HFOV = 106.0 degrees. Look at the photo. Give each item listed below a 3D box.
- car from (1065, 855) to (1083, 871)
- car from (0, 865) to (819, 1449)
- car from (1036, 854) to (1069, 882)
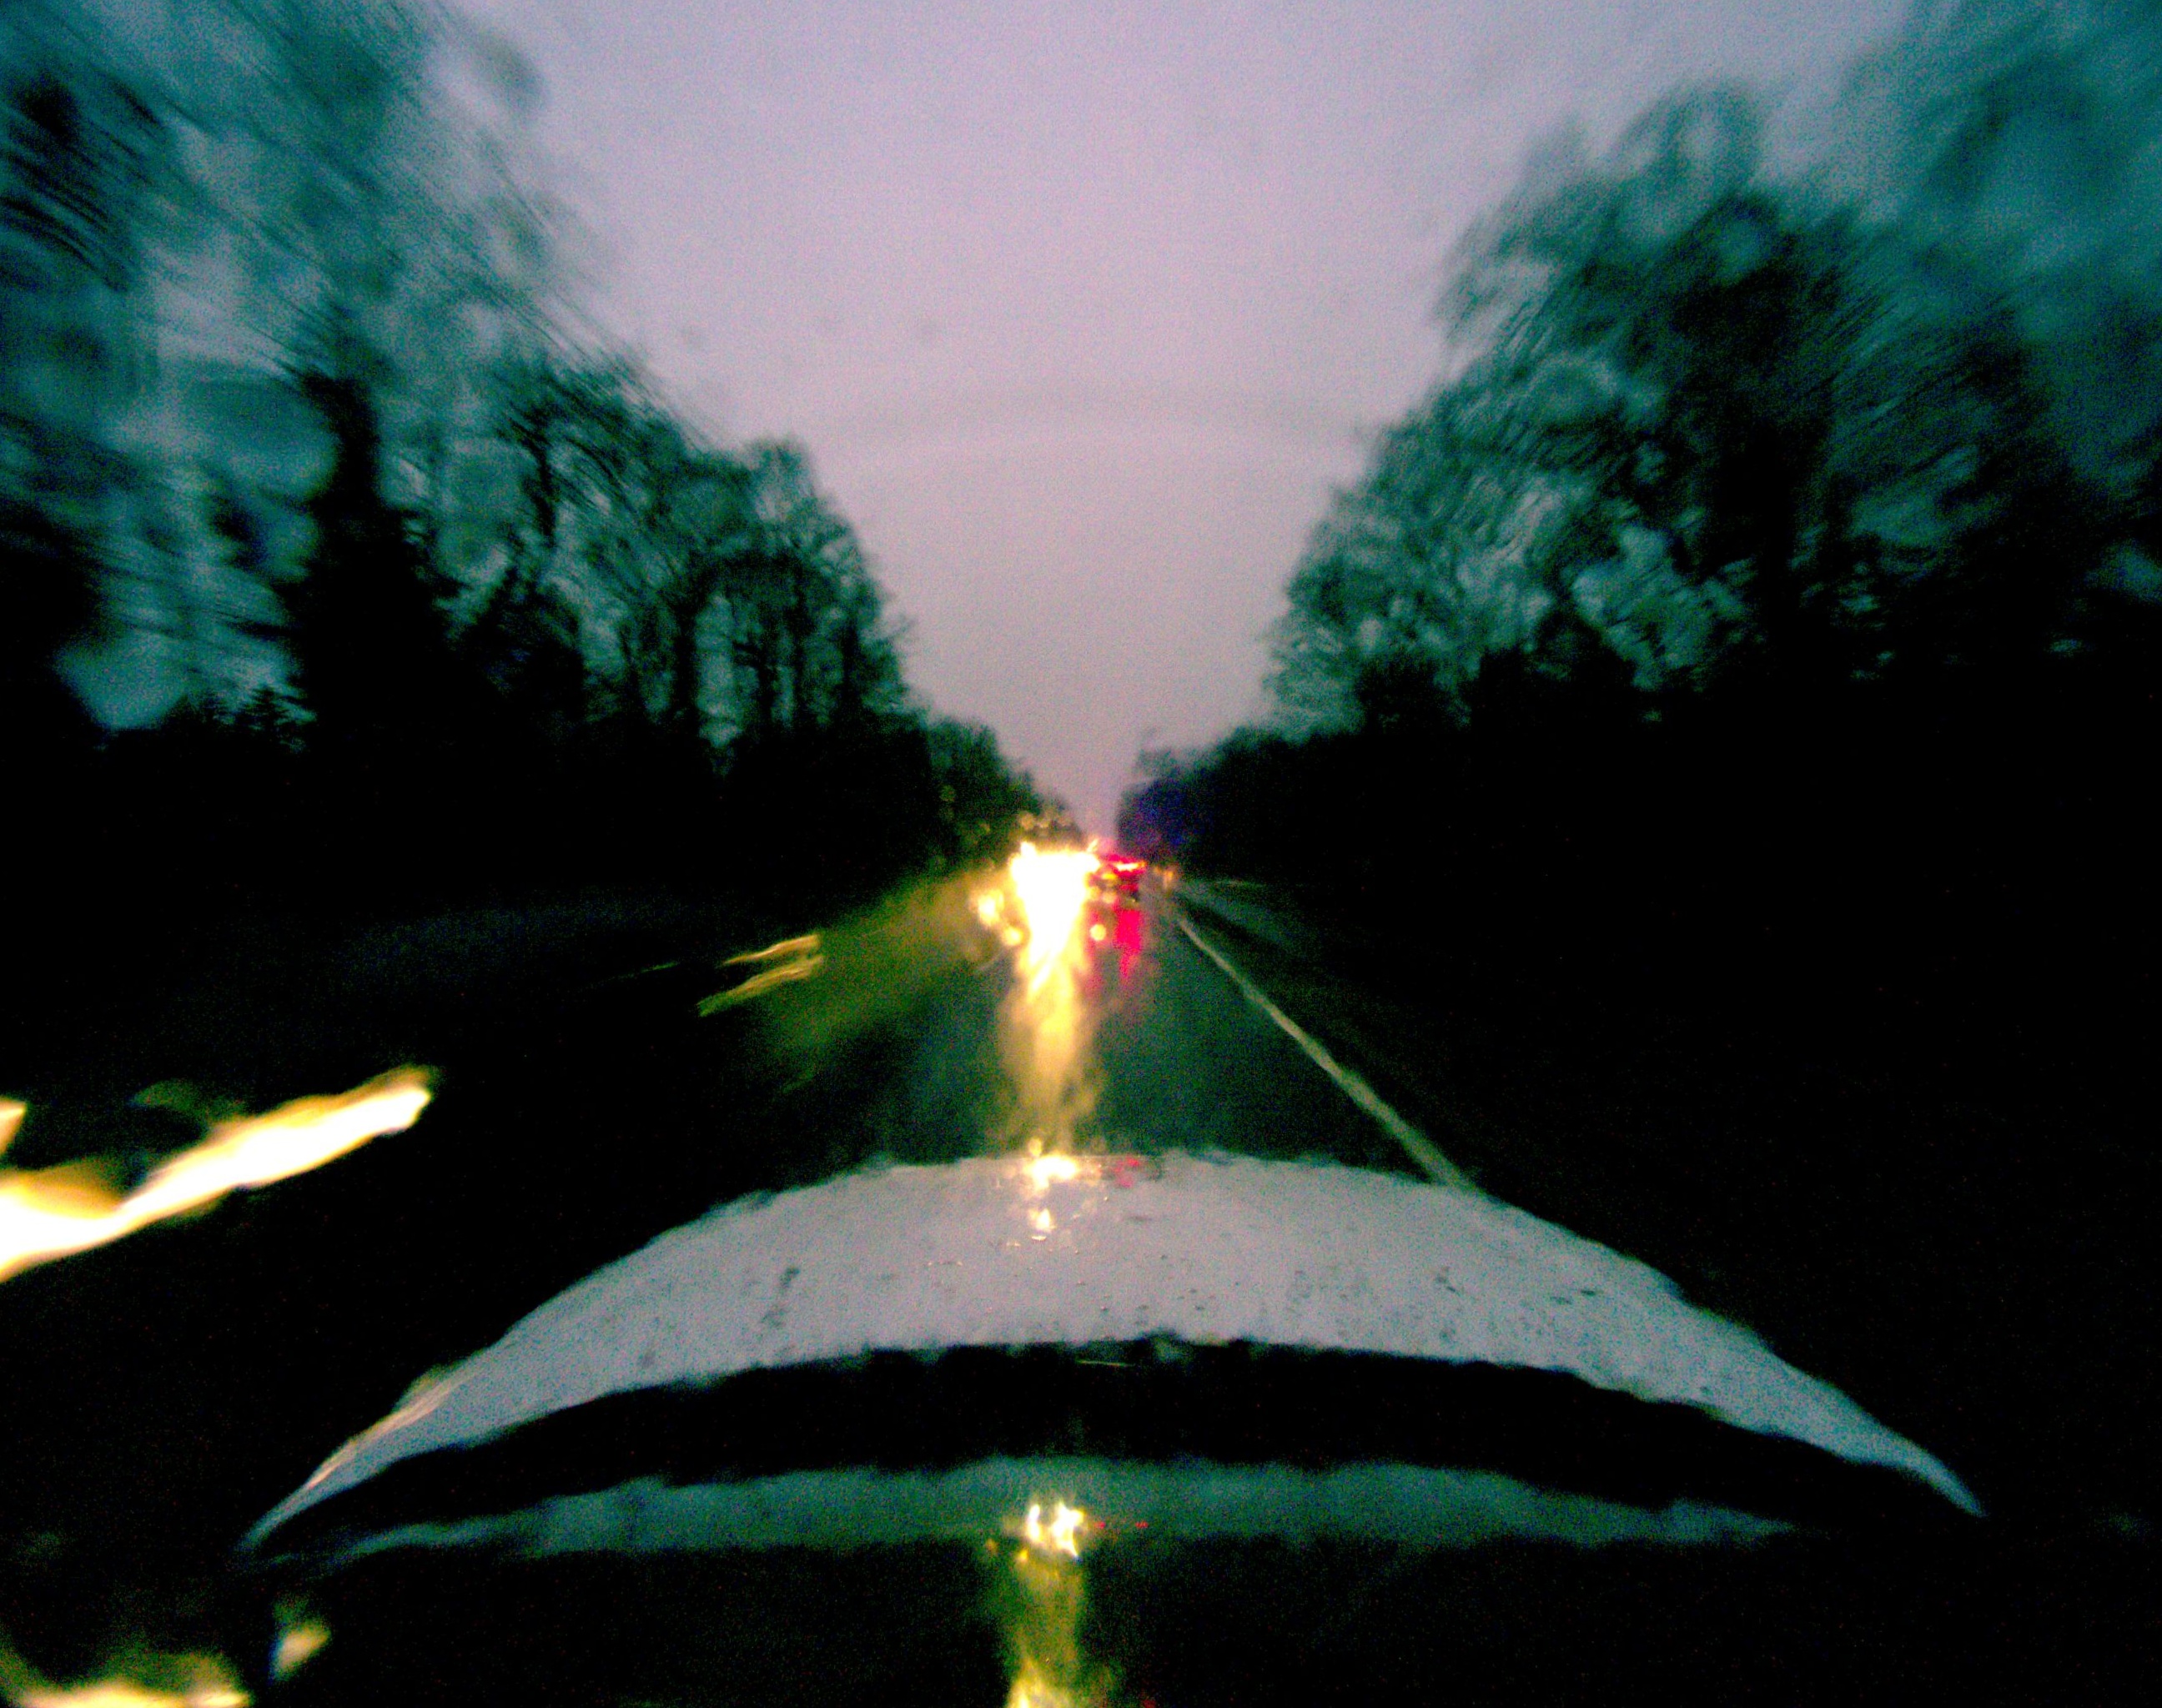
[{"bbox_3d":[-0.693,0.895,81.556,1.575,1.550,4.001,-2,0,1],"label":"car"},{"bbox_3d":[-3.130,0.859,4.398,1.758,1.458,4.509,-3,0,2],"label":"car"},{"bbox_3d":[-1.763,0.873,51.464,1.734,1.635,4.002,-2,0,2],"label":"car"}]
